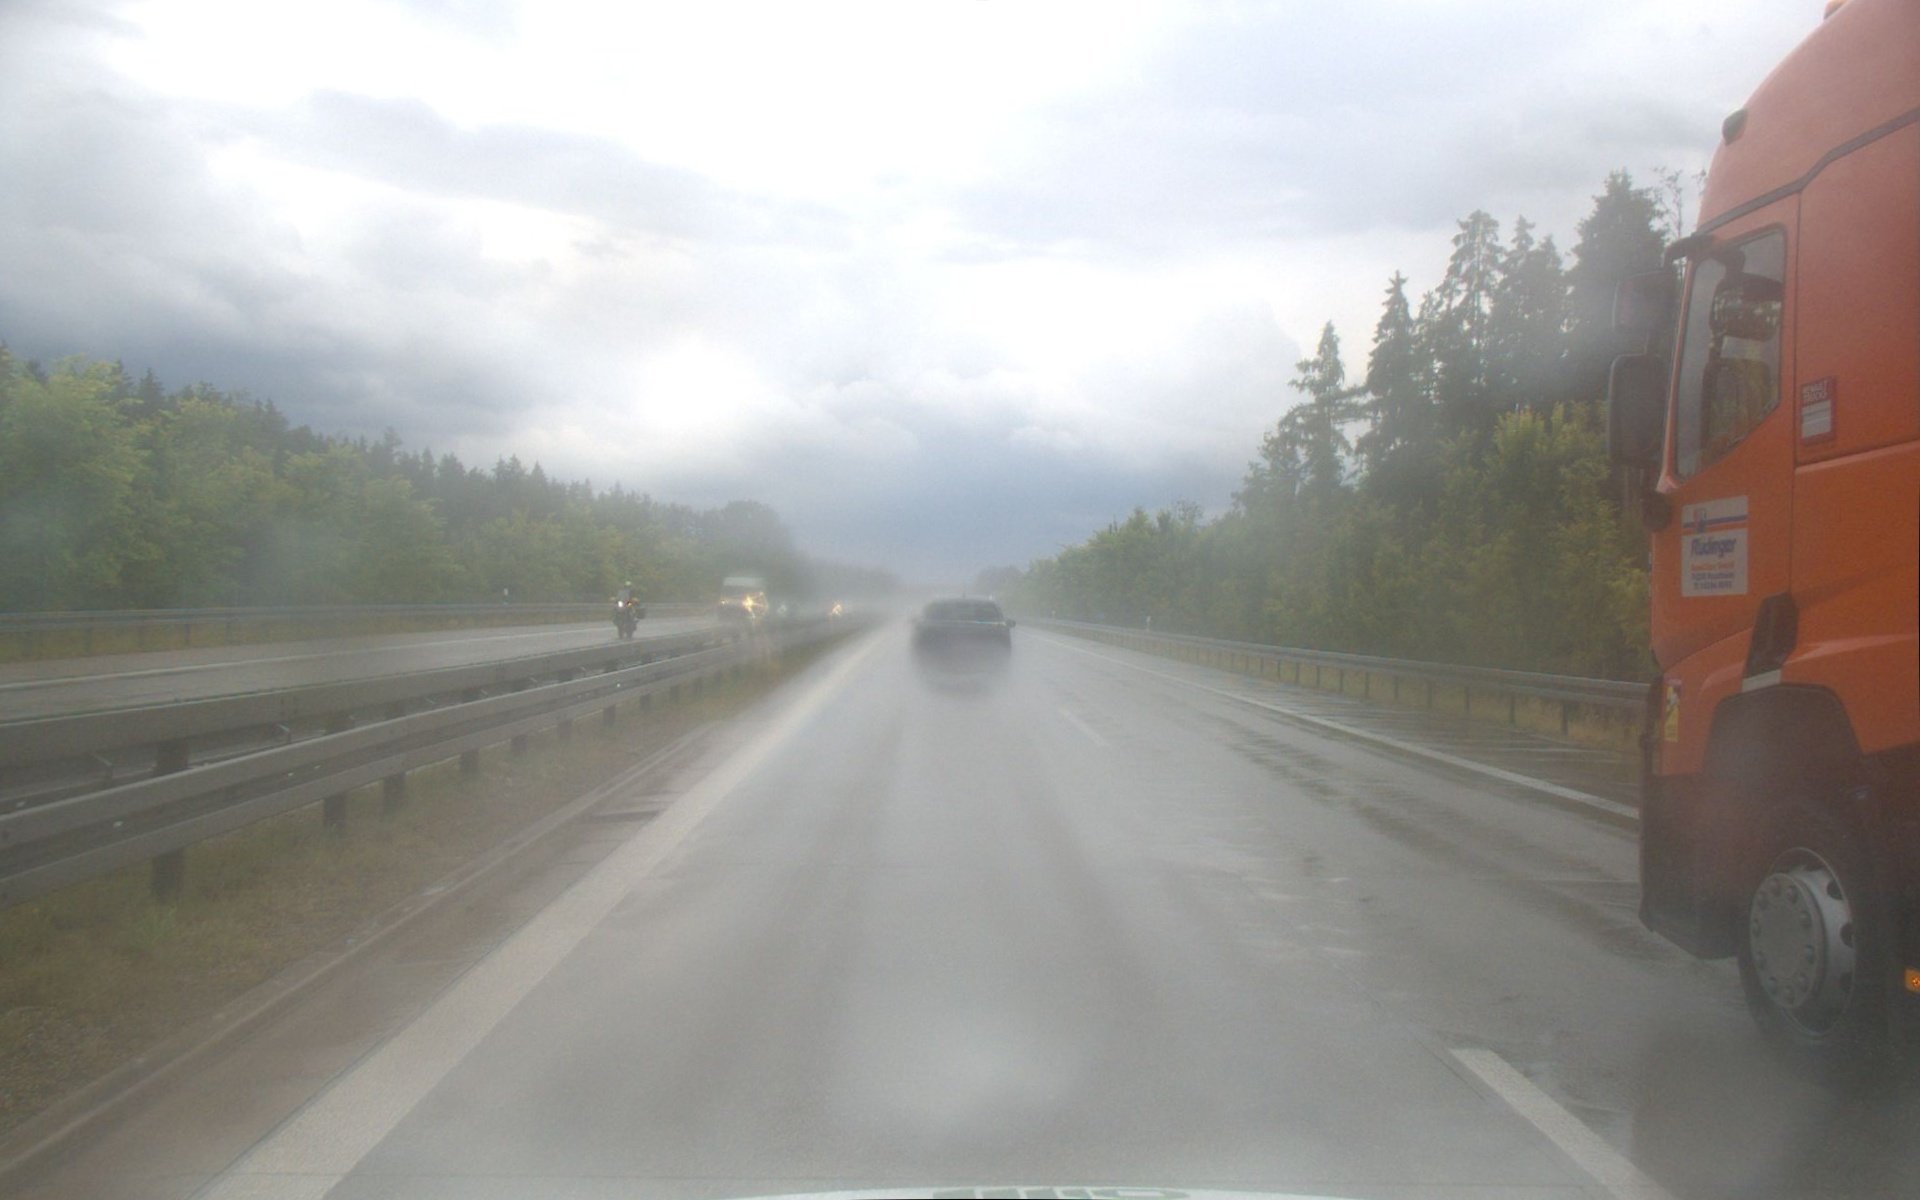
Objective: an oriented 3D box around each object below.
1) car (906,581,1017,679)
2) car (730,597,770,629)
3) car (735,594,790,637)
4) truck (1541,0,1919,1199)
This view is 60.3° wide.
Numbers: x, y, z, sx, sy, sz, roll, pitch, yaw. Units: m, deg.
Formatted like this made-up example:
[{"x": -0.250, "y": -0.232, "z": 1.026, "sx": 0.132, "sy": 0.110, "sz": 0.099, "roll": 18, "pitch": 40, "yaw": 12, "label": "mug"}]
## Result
[{"x": -0.025, "y": 0.578, "z": 30.733, "sx": 1.856, "sy": 1.603, "sz": 3.629, "roll": 3, "pitch": -2, "yaw": -2, "label": "car"}, {"x": -11.984, "y": 0.762, "z": 94.644, "sx": 1.856, "sy": 1.603, "sz": 3.630, "roll": 3, "pitch": -2, "yaw": -2, "label": "car"}, {"x": -8.092, "y": 0.656, "z": 68.059, "sx": 1.856, "sy": 1.603, "sz": 3.630, "roll": 3, "pitch": -2, "yaw": -2, "label": "car"}, {"x": 3.891, "y": -0.495, "z": 4.421, "sx": 2.703, "sy": 4.159, "sz": 5.436, "roll": 0, "pitch": 0, "yaw": -1, "label": "truck"}]
